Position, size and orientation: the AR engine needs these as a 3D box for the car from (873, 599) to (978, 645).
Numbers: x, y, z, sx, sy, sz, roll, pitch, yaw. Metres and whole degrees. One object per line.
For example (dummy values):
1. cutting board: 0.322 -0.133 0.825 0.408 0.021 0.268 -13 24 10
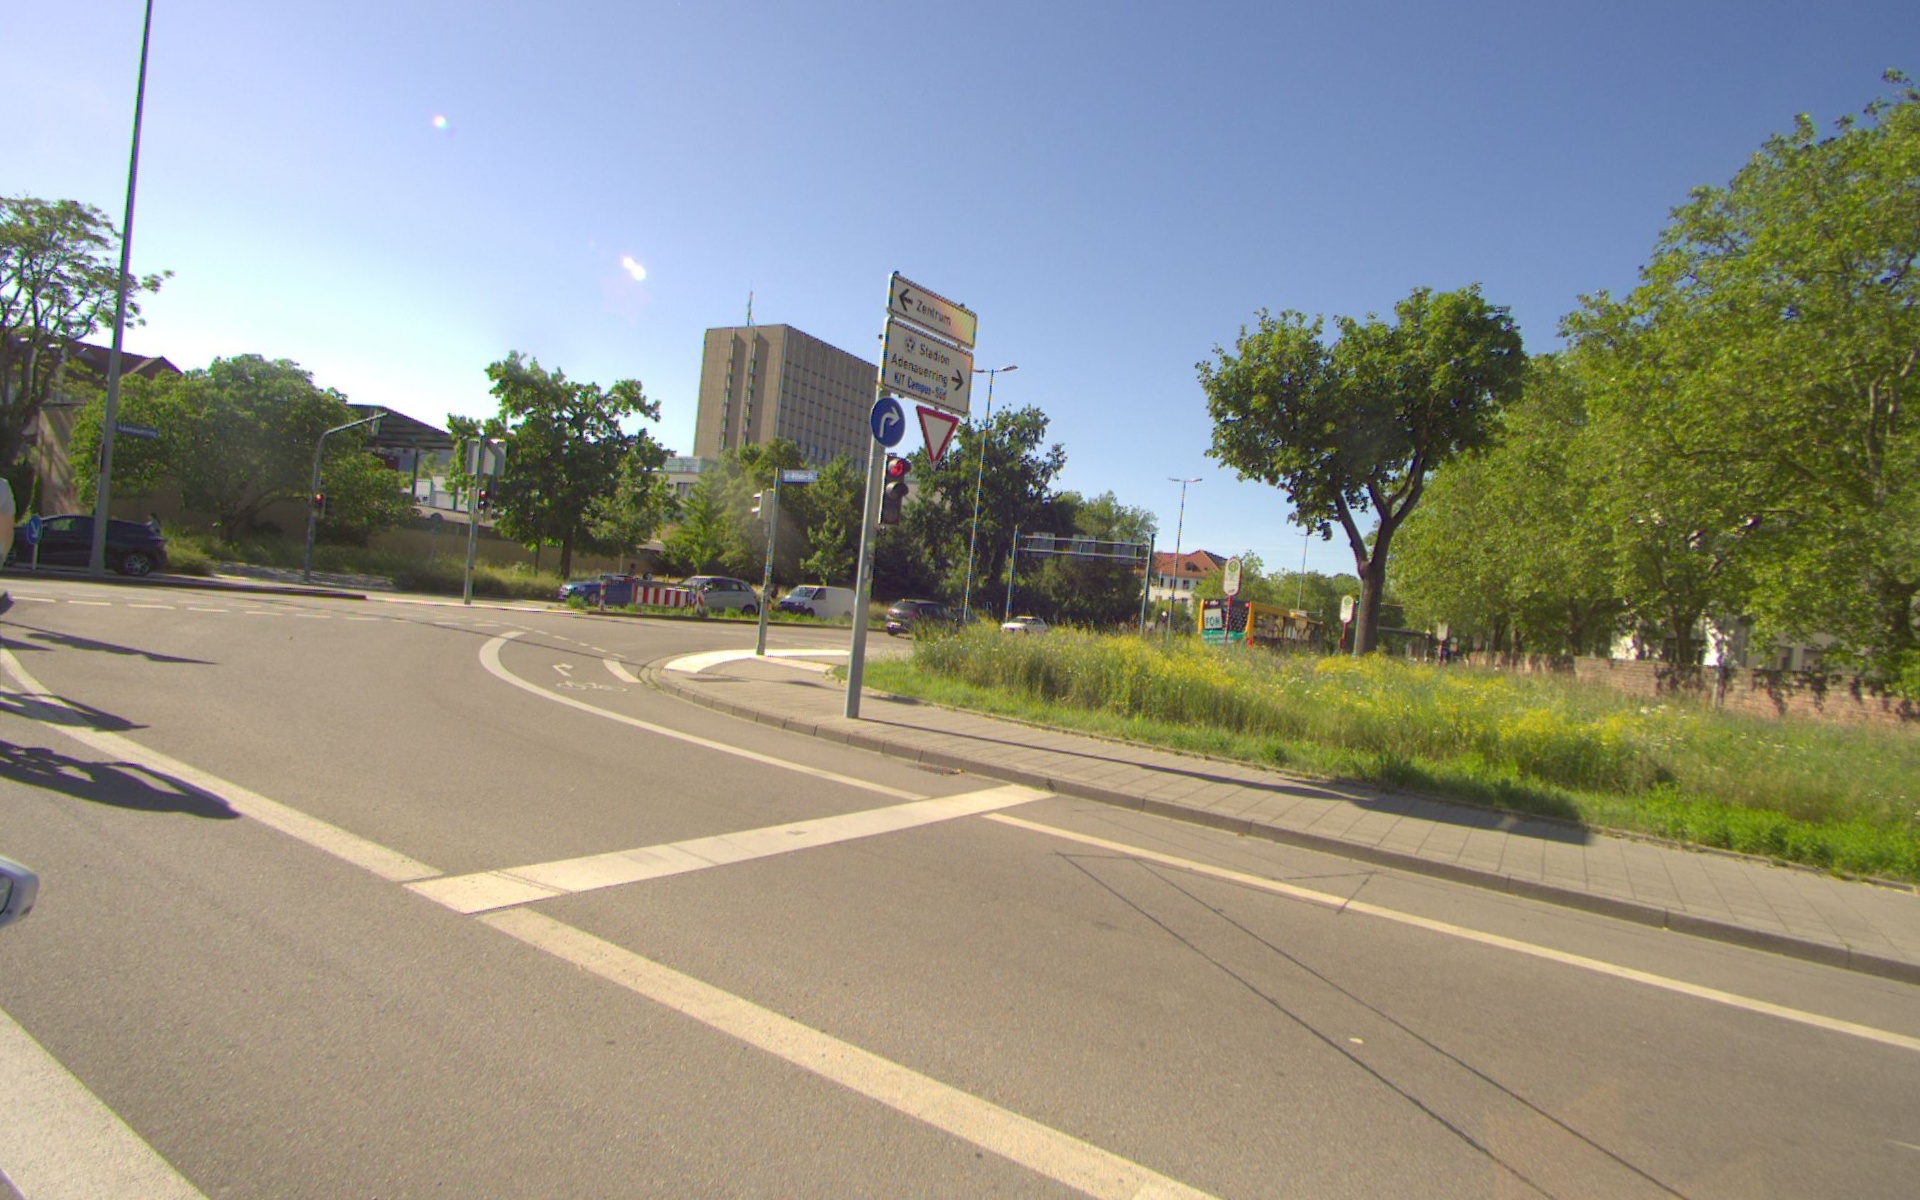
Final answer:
1. car: -1.241 0.851 38.110 1.817 1.404 4.059 2 -4 35

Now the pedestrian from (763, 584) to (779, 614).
1. pedestrian: -11.431 -0.071 60.833 0.519 1.716 0.561 7 1 35

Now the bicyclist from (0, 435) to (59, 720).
1. bicyclist: -6.222 -0.187 6.091 1.000 1.688 0.752 6 -1 33

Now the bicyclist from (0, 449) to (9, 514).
1. bicyclist: -8.135 -0.374 7.781 1.048 1.759 0.647 7 -1 26

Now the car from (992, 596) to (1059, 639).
1. car: 4.355 1.163 66.055 1.969 2.186 4.783 6 -2 35

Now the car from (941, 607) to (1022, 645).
1. car: 1.201 1.384 52.683 1.967 1.604 4.737 6 0 32

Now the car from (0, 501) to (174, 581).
1. car: -23.777 -1.602 26.599 1.818 1.652 4.366 6 -1 41

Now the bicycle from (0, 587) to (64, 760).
1. bicycle: -6.293 0.351 6.092 1.946 0.906 0.741 6 -2 33

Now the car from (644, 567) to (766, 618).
1. car: -9.426 -0.235 37.430 1.840 1.426 4.046 6 0 38

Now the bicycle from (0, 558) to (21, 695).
1. bicycle: -8.201 0.087 7.775 1.935 1.014 0.661 6 -1 26

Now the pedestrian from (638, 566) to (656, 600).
1. pedestrian: -16.632 -0.889 53.450 0.520 1.716 0.560 7 1 40

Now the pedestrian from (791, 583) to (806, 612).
1. pedestrian: -10.135 -0.162 62.956 0.519 1.716 0.561 7 1 35

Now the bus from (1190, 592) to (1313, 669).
1. bus: 14.303 1.588 48.614 2.751 2.662 10.097 6 -2 33

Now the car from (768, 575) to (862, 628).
1. car: -7.686 0.121 53.862 1.969 2.131 4.884 6 -2 35

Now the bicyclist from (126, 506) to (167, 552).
1. bicyclist: -28.567 -2.487 35.328 0.590 1.447 0.935 7 1 40

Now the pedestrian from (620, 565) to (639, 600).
1. pedestrian: -16.963 -0.910 51.638 0.519 1.716 0.561 7 1 35

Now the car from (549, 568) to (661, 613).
1. car: -15.050 -0.387 42.801 1.716 1.453 4.164 7 0 36
